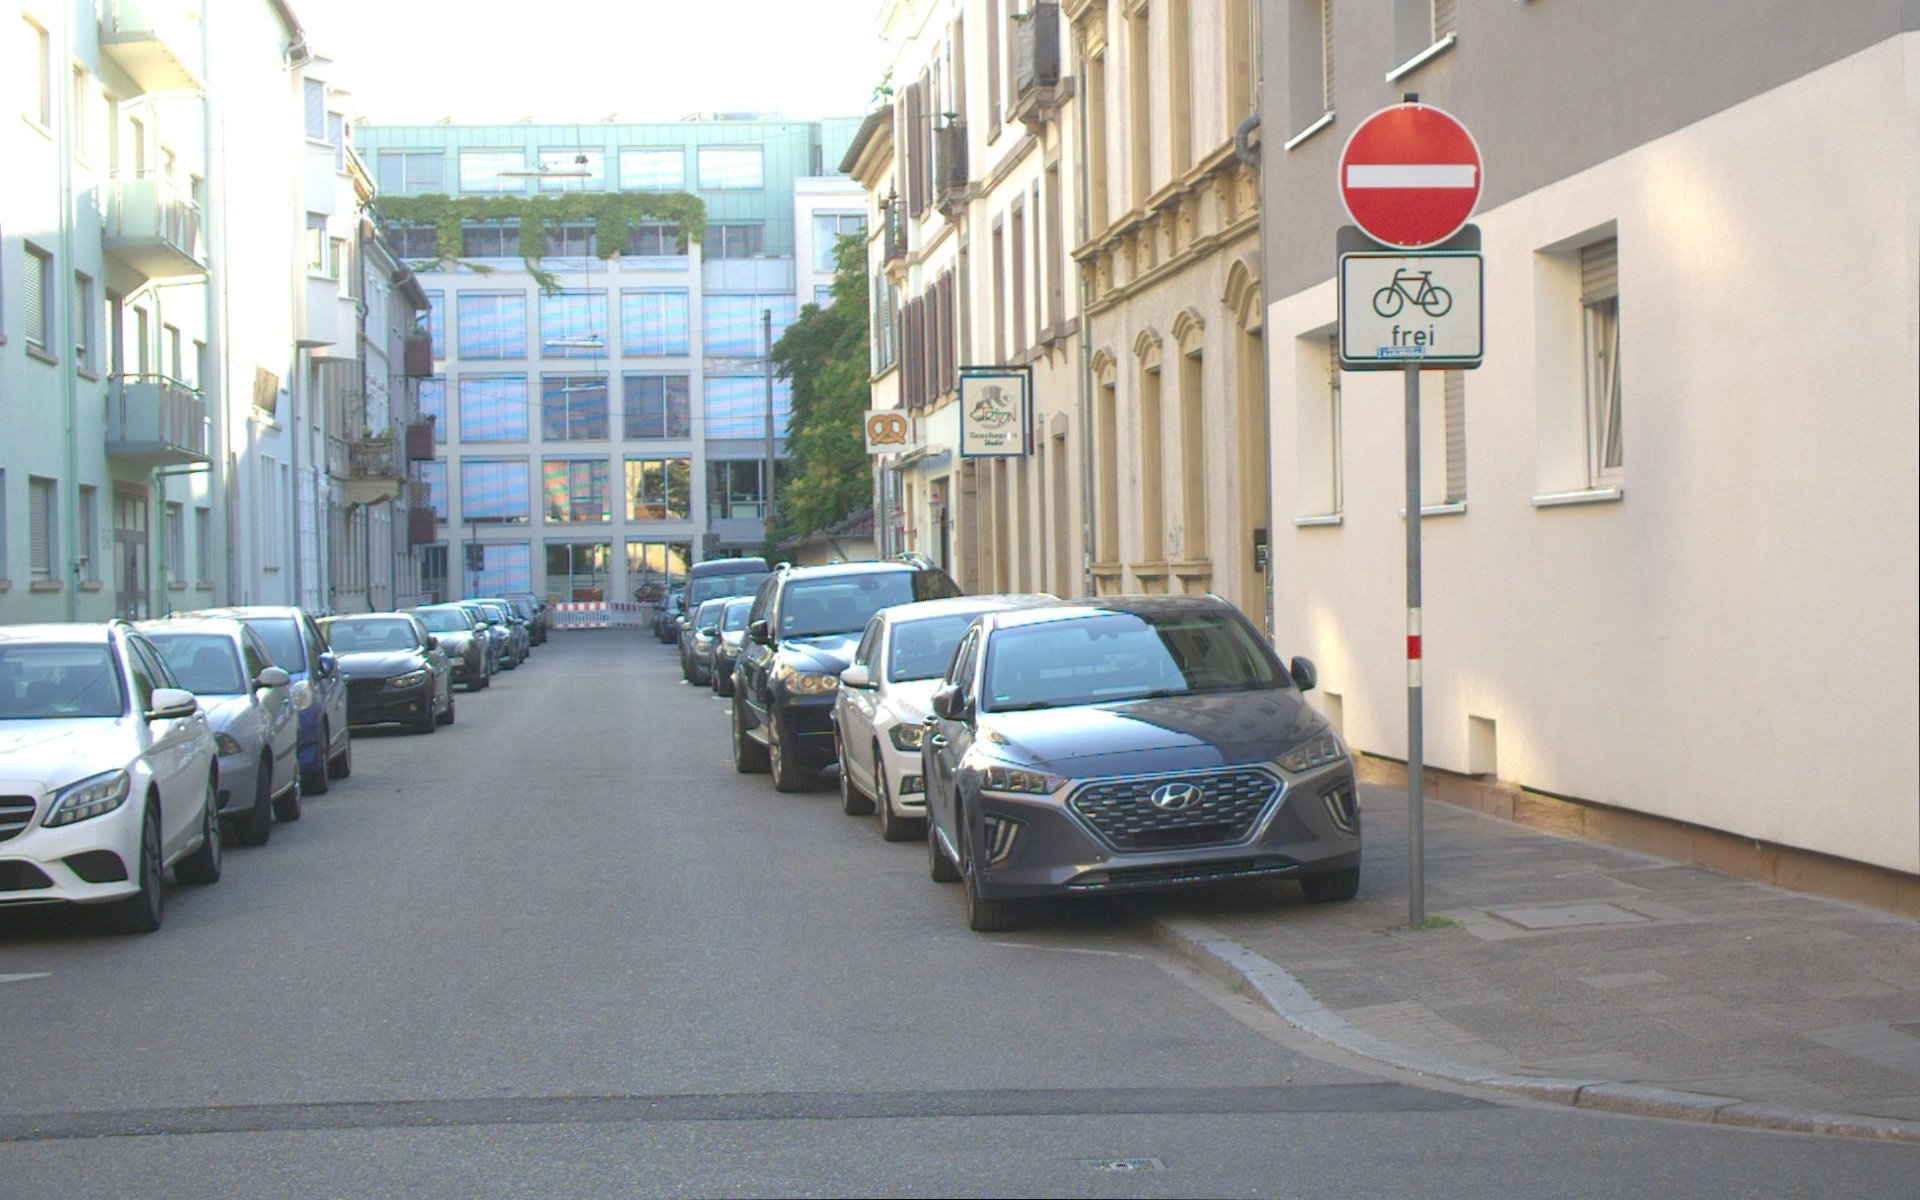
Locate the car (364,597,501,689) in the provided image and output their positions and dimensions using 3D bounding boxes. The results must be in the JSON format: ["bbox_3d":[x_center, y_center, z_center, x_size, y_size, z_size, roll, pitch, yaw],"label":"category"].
[{"bbox_3d":[-8.793,0.698,57.578,2.172,1.413,4.001,-1,1,-8],"label":"car"}]

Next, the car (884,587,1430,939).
[{"bbox_3d":[0.805,0.679,16.489,1.938,1.367,3.789,-3,1,-7],"label":"car"}]

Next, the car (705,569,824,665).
[{"bbox_3d":[-3.650,0.278,63.597,1.993,1.694,4.001,-1,1,-6],"label":"car"}]

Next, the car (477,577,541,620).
[{"bbox_3d":[-14.549,-0.060,110.862,1.993,1.305,3.883,-1,1,-7],"label":"car"}]

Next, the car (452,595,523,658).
[{"bbox_3d":[-11.098,0.600,80.694,1.585,1.405,3.391,-1,1,-8],"label":"car"}]

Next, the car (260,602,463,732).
[{"bbox_3d":[-6.885,0.737,39.961,1.993,1.350,4.430,-1,1,-6],"label":"car"}]

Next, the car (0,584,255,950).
[{"bbox_3d":[-4.768,0.747,17.298,1.993,1.559,4.507,-2,1,-7],"label":"car"}]

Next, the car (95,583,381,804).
[{"bbox_3d":[-5.892,0.713,28.425,1.785,1.653,3.817,-1,1,-4],"label":"car"}]

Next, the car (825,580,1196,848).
[{"bbox_3d":[0.232,0.669,22.533,1.963,1.552,3.889,-1,1,-6],"label":"car"}]

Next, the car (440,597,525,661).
[{"bbox_3d":[-10.340,0.608,74.611,1.707,1.298,4.001,-1,1,-6],"label":"car"}]

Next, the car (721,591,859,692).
[{"bbox_3d":[-2.653,0.614,52.955,1.993,1.446,4.001,-1,1,-5],"label":"car"}]

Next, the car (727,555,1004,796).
[{"bbox_3d":[-0.842,0.546,27.879,1.893,1.778,4.001,-1,1,-6],"label":"car"}]

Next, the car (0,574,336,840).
[{"bbox_3d":[-5.166,0.634,22.725,1.624,1.571,3.755,-1,1,-4],"label":"car"}]
